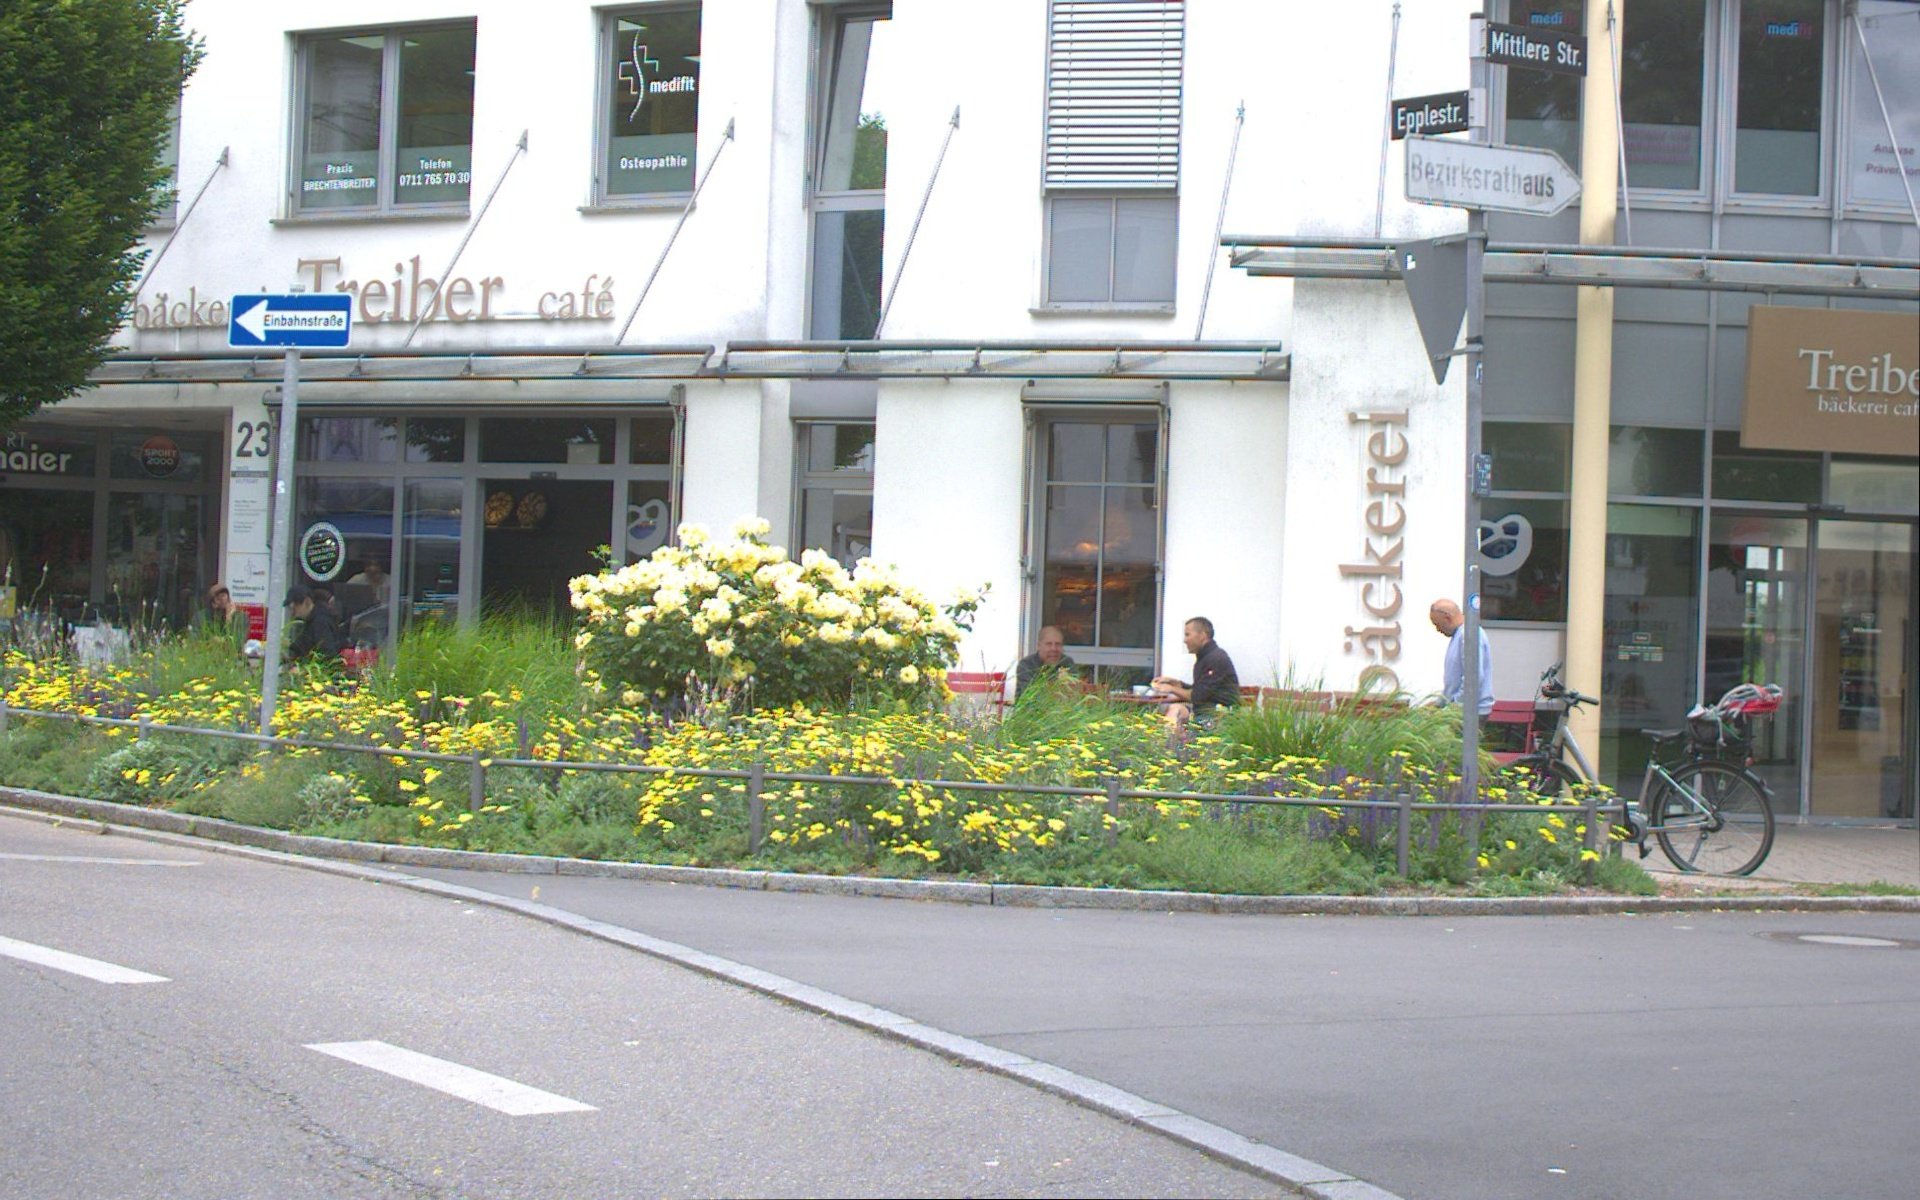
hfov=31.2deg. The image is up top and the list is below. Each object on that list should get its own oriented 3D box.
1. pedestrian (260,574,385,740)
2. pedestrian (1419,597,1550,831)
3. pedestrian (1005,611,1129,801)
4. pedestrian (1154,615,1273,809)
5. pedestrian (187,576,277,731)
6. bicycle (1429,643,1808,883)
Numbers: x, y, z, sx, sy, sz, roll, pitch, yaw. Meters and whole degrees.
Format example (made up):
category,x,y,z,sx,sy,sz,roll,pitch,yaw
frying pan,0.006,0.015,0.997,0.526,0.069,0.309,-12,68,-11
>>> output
category,x,y,z,sx,sy,sz,roll,pitch,yaw
pedestrian,-5.222,0.471,28.170,0.567,1.313,0.763,2,-2,31
pedestrian,3.545,0.755,23.203,0.701,1.520,0.866,2,0,18
pedestrian,0.781,0.757,24.986,0.701,1.327,0.684,2,0,18
pedestrian,1.814,0.786,24.552,0.655,1.337,0.695,2,0,18
pedestrian,-6.120,0.445,28.892,0.491,1.267,0.501,2,0,31
bicycle,3.812,0.918,19.949,1.977,1.235,0.743,3,1,30
